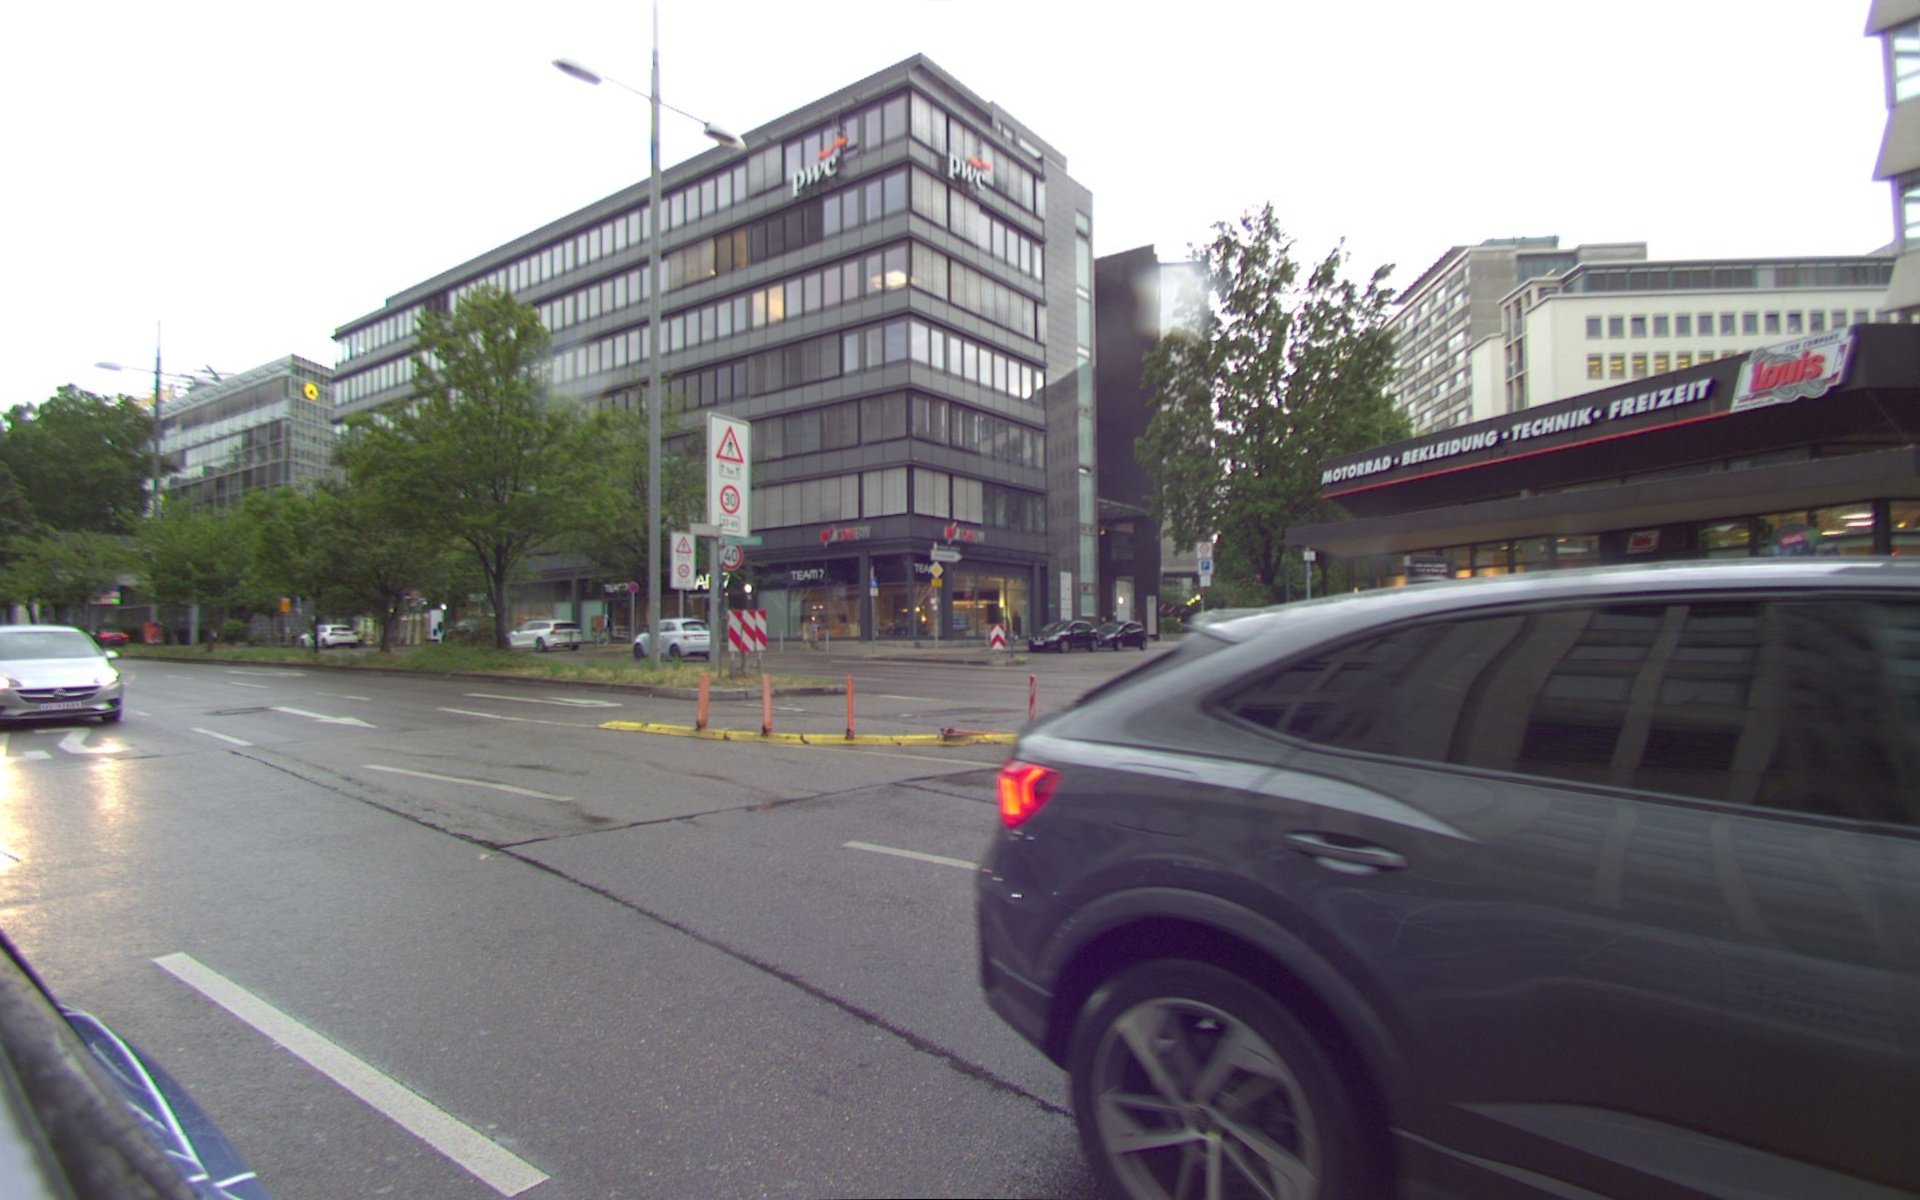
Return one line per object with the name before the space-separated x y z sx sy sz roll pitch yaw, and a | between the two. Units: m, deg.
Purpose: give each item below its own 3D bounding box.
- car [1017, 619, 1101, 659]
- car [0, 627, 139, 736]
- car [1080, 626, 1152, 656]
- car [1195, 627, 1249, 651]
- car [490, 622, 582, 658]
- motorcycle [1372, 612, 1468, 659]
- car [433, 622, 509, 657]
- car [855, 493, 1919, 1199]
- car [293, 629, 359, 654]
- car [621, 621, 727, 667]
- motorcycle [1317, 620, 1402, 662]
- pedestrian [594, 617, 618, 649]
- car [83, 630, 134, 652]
car | 4.500 1.719 45.636 1.996 1.652 3.951 -1 -1 36
car | -14.125 1.167 15.361 3.866 1.454 1.830 -2 -1 39
car | 7.614 1.947 49.253 1.844 1.298 3.950 -1 -1 37
car | 15.942 2.343 61.535 1.843 1.298 3.951 -1 -1 36
car | -20.003 1.874 47.654 4.764 1.496 1.792 -2 2 37
motorcycle | 14.283 1.090 31.438 2.843 1.384 0.806 -1 -1 -16
car | -24.871 1.988 51.387 4.304 1.673 1.791 -2 -1 38
car | 2.021 0.594 1.806 4.281 1.446 1.918 -2 -2 38
car | -38.253 2.492 61.046 4.298 1.455 1.794 -2 -1 34
car | -10.271 1.560 36.293 3.683 1.585 1.768 -2 -2 36
motorcycle | 13.566 1.389 34.366 2.773 1.343 0.725 -1 -1 -15
pedestrian | -18.419 1.700 52.714 0.964 1.650 0.776 -2 -2 36
car | -61.869 2.971 73.512 4.476 1.556 1.975 -2 -2 38
